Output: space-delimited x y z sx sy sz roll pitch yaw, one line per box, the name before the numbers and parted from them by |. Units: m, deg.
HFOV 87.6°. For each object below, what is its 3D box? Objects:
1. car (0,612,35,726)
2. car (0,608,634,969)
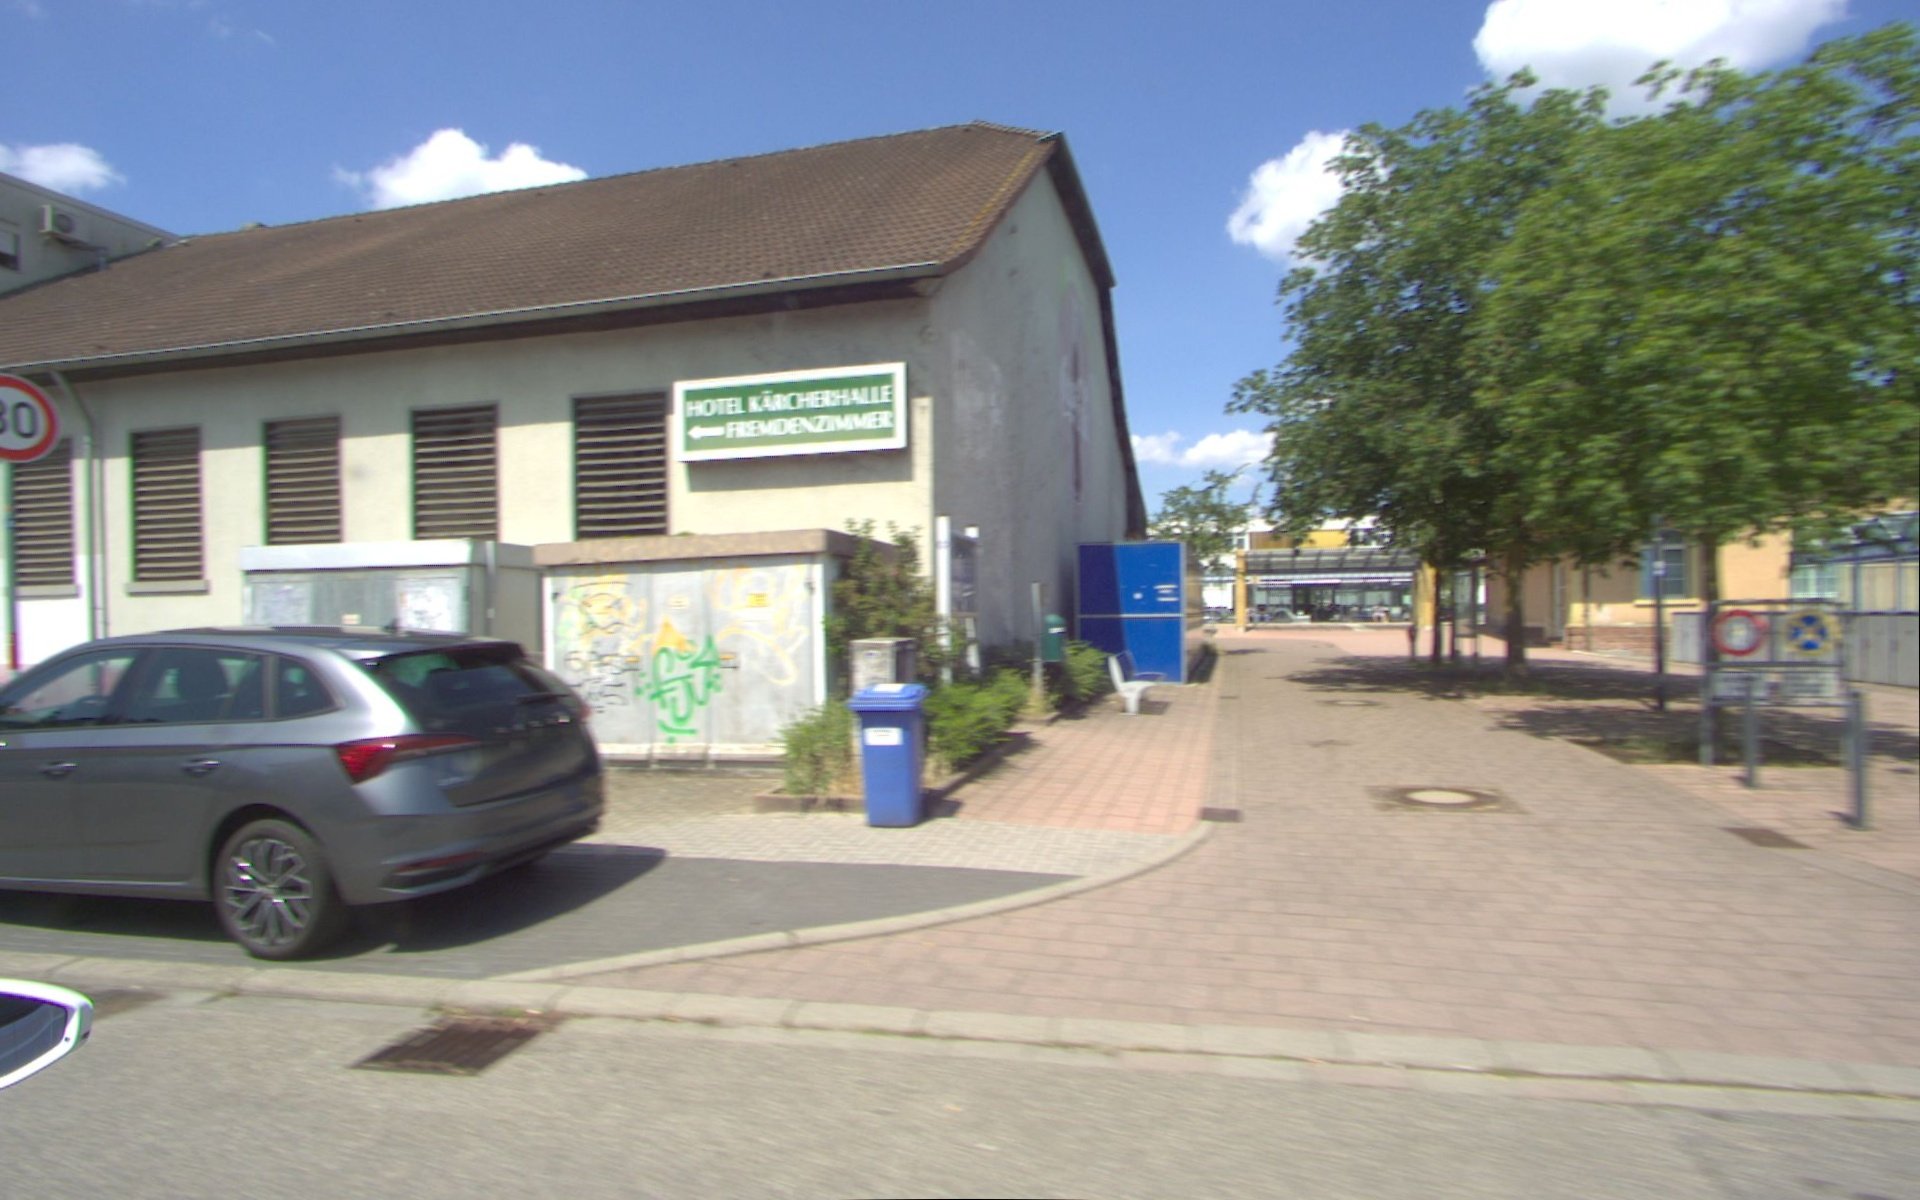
car | -13.904 0.930 11.468 1.883 1.474 4.534 -1 1 16
car | -4.043 0.812 5.468 4.063 1.508 1.631 -1 0 14
